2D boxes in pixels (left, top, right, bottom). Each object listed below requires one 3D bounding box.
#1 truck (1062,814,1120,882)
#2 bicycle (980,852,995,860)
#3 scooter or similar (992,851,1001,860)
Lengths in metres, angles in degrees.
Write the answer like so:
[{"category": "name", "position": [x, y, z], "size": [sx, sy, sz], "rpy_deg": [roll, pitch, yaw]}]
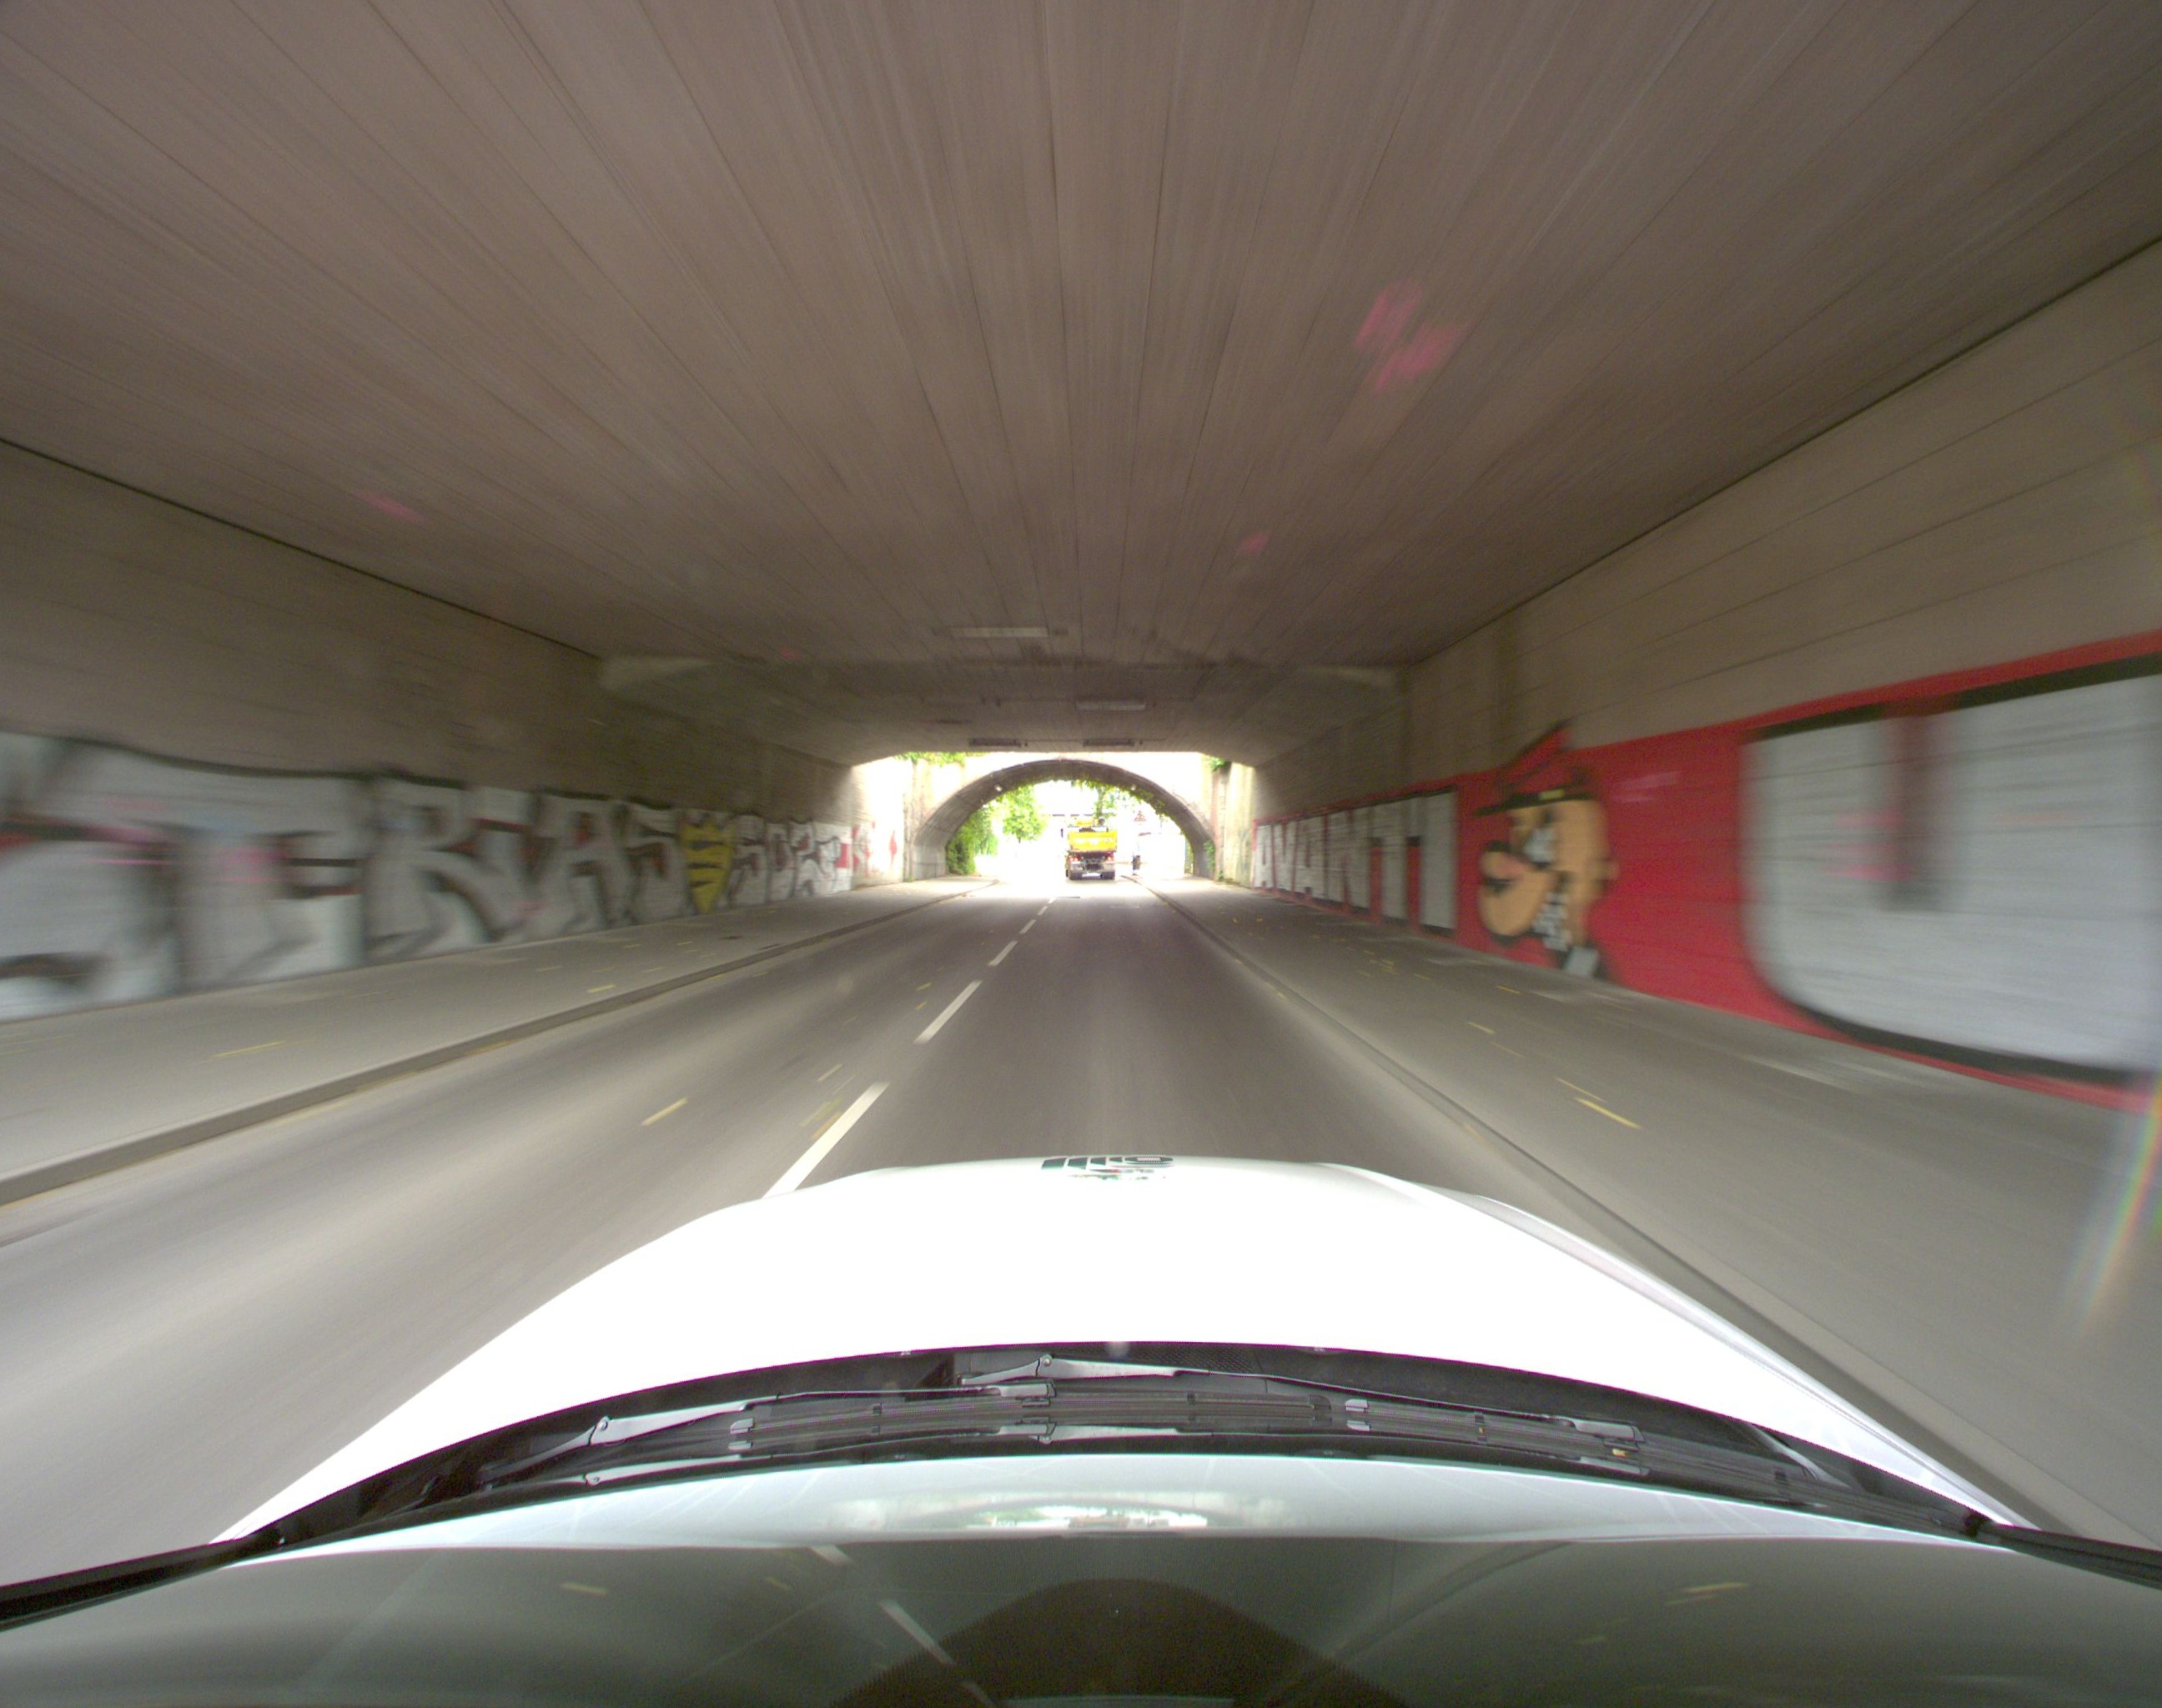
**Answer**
[{"category": "truck", "position": [0.417, -0.410, 46.810], "size": [2.758, 3.483, 8.121], "rpy_deg": [-1, 1, -3]}, {"category": "bicycle", "position": [-12.966, 0.251, 112.771], "size": [1.981, 0.865, 0.505], "rpy_deg": [6, -3, -39]}, {"category": "scooter or similar", "position": [-11.647, 0.168, 112.310], "size": [1.196, 1.206, 0.463], "rpy_deg": [4, -3, -35]}]
